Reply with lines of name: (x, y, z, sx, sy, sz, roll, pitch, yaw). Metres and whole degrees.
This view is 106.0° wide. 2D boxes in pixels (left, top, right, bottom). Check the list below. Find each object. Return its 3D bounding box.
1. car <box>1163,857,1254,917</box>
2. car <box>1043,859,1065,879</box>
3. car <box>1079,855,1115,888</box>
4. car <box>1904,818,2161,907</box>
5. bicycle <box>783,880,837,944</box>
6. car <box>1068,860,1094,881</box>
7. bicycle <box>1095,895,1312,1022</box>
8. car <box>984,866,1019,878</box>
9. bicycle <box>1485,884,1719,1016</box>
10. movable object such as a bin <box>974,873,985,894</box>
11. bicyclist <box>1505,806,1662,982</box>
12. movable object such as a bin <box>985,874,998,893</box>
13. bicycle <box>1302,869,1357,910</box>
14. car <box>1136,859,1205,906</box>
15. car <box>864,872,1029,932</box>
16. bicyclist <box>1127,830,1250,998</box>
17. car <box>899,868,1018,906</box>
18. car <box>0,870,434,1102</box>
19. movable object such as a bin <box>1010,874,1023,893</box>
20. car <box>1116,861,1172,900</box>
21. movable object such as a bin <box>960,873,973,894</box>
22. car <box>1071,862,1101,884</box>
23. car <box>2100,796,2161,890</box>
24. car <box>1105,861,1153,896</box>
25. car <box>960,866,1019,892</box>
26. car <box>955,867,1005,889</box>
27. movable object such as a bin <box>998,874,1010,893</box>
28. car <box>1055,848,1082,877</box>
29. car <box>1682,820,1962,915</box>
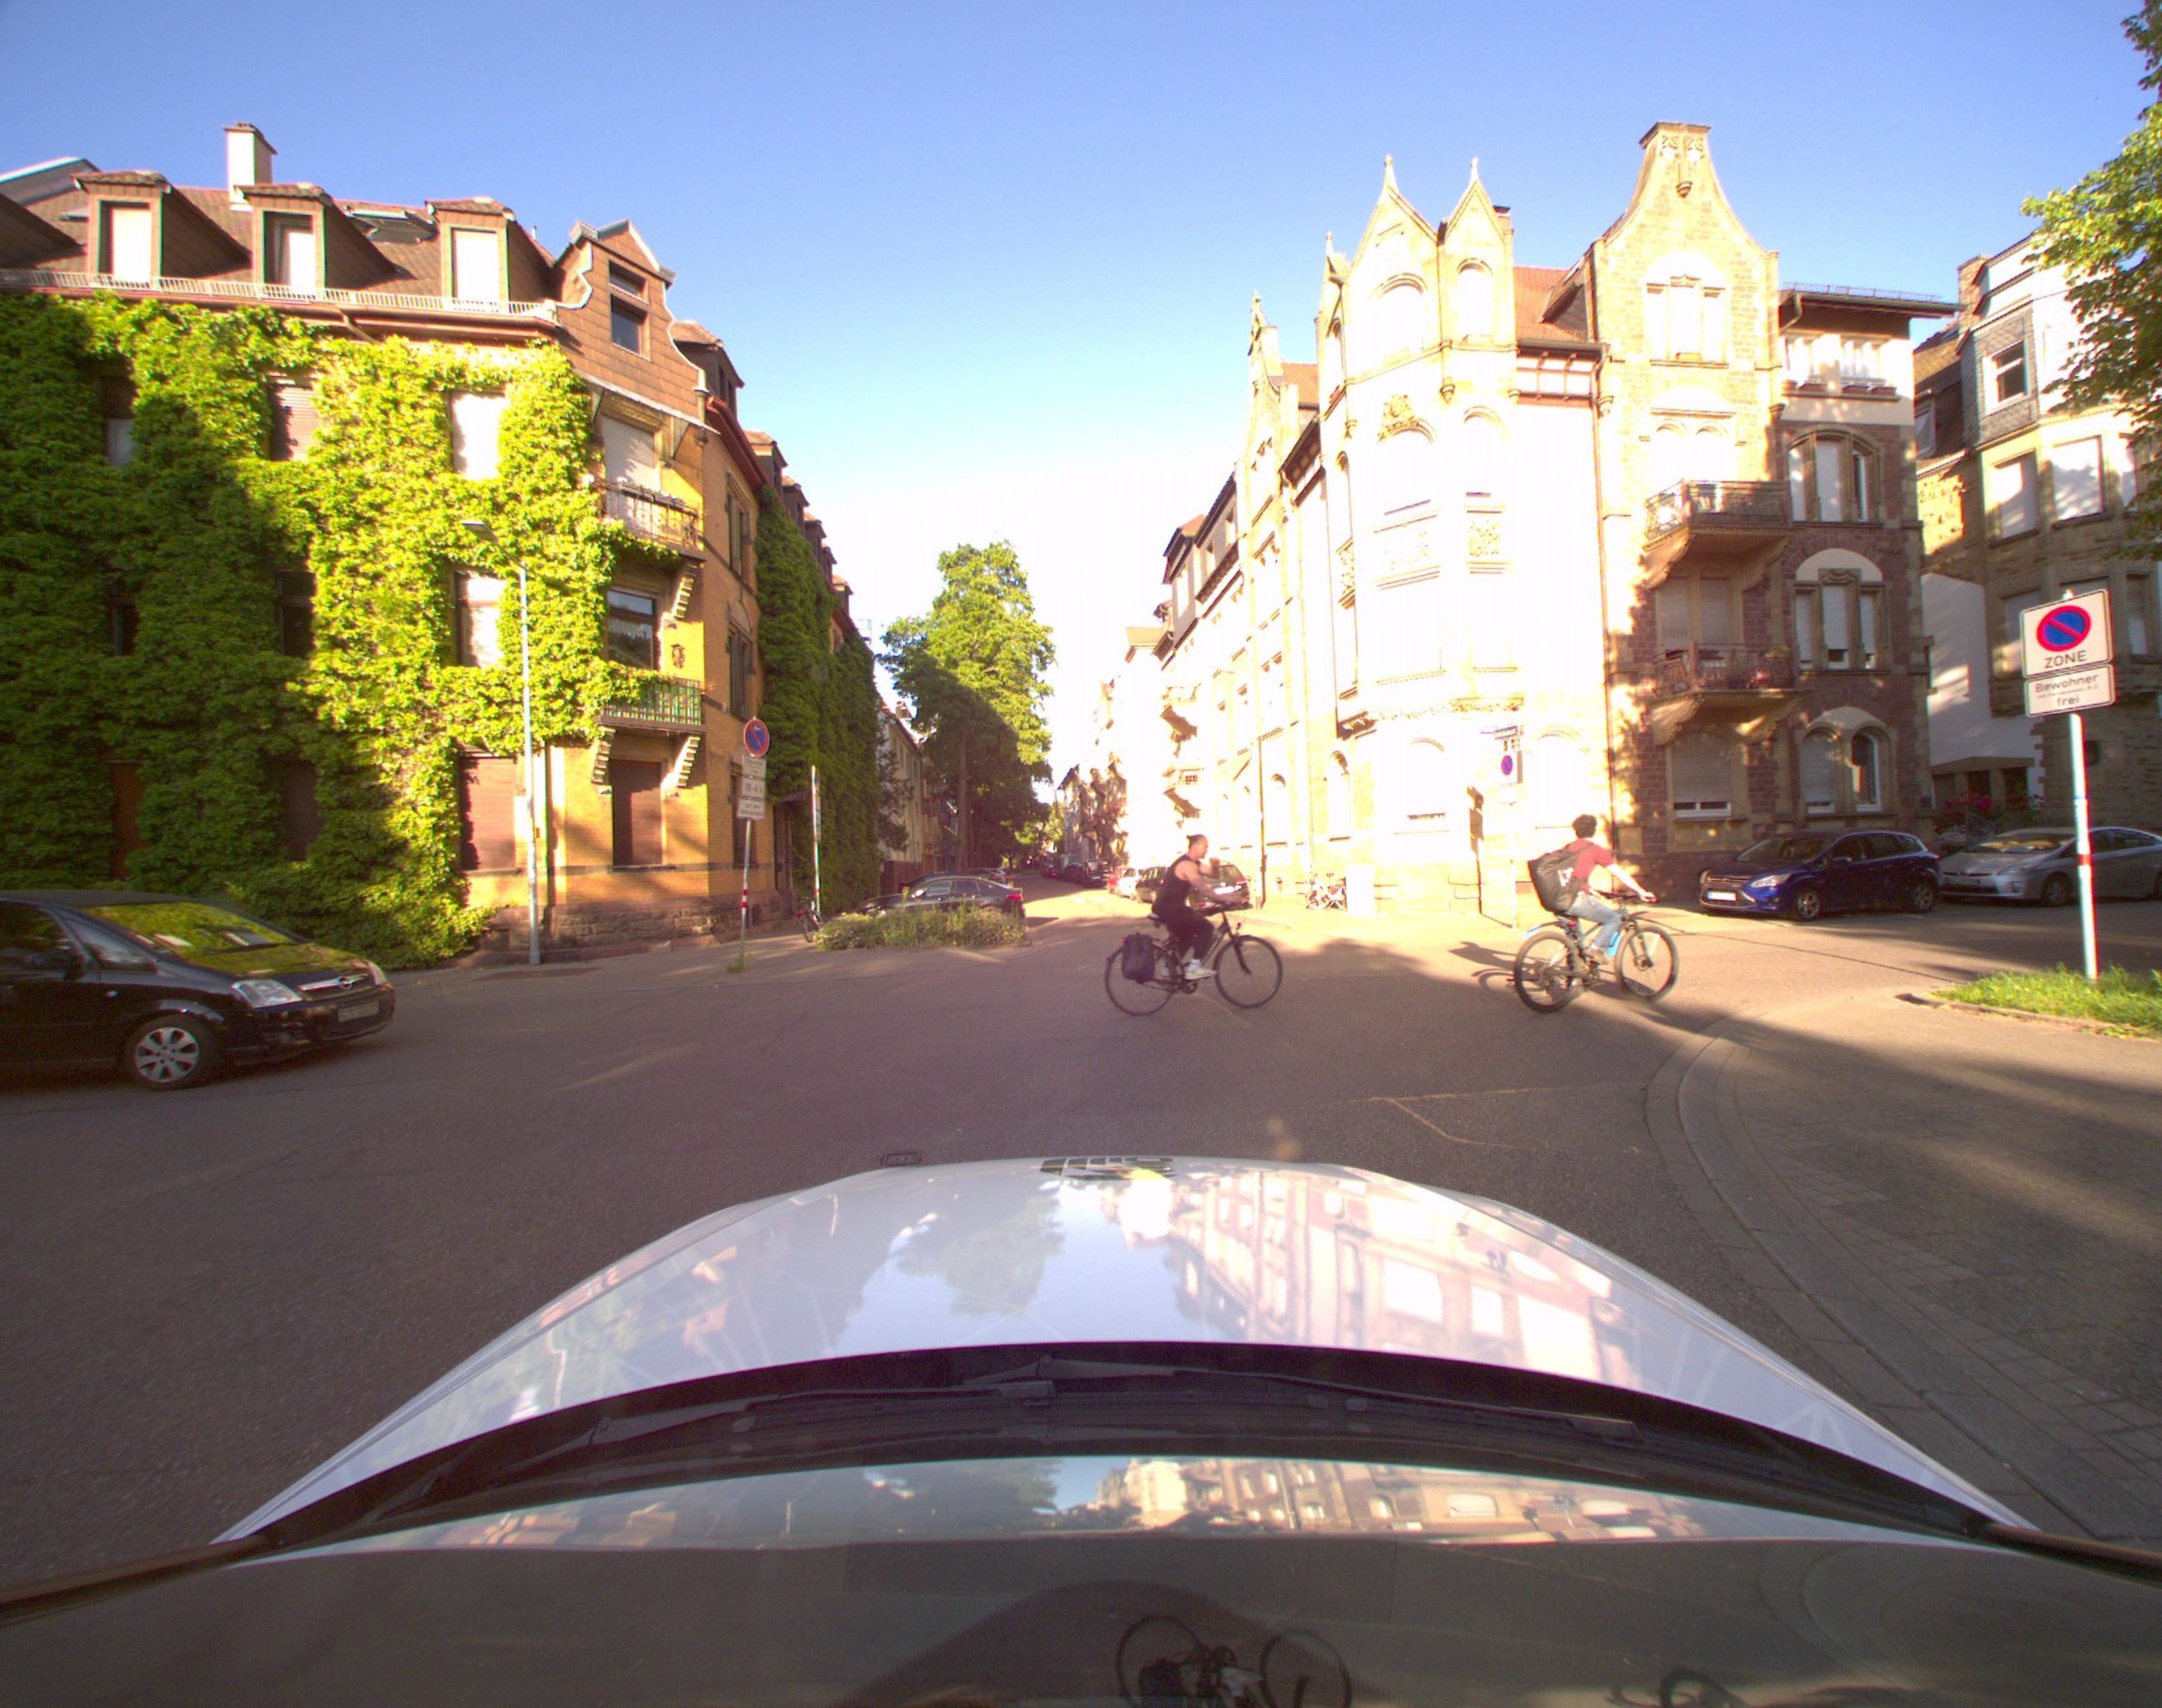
car: (3.703, 0.929, 24.307, 1.735, 1.581, 3.992, -1, -1, -6)
car: (-3.167, 1.720, 95.034, 2.163, 2.237, 4.781, -1, -1, -6)
car: (1.000, 1.105, 52.850, 1.800, 2.004, 3.992, -1, -1, -6)
car: (19.224, 0.134, 16.250, 4.441, 1.499, 1.729, -2, 0, -11)
bicycle: (-5.915, 1.240, 17.863, 0.561, 1.268, 1.603, -3, 0, 2)
car: (-0.028, 1.347, 67.937, 1.800, 1.679, 3.992, -1, -1, -6)
bicycle: (1.183, 0.975, 7.969, 1.965, 1.073, 0.695, -1, -1, -14)
car: (-8.772, 1.974, 89.864, 3.799, 1.240, 1.705, -1, -1, -8)
bicycle: (4.820, 0.859, 7.560, 1.962, 1.072, 0.555, -1, 1, -9)
movable object such as a bin: (-5.681, 1.634, 45.602, 0.598, 1.153, 0.484, -1, -1, -12)
bicyclist: (4.627, 0.349, 7.541, 0.968, 1.527, 0.718, -1, -1, -9)
movable object such as a bin: (-5.024, 1.653, 45.680, 0.629, 1.053, 0.566, -1, -1, -12)
bicycle: (6.316, 0.891, 20.772, 0.515, 0.998, 1.567, -1, -1, -17)
car: (3.255, 1.023, 30.247, 1.735, 1.581, 3.992, -1, -1, -6)
car: (-3.606, 1.271, 22.263, 4.240, 1.435, 1.995, -1, -1, -8)
bicyclist: (1.028, 0.554, 7.944, 0.970, 1.527, 0.705, -1, -1, -15)
car: (-5.127, 1.366, 34.477, 4.831, 1.435, 1.705, -1, -1, -8)
car: (-8.247, 1.046, 6.856, 4.006, 1.590, 1.644, -3, 1, -10)
movable object such as a bin: (-3.638, 1.645, 45.958, 0.629, 1.053, 0.566, -1, -1, -12)
car: (2.694, 1.113, 35.659, 1.735, 1.581, 3.992, -1, -1, -6)
movable object such as a bin: (-6.390, 1.635, 45.424, 0.634, 1.126, 0.484, -1, -1, -12)
car: (0.337, 1.397, 61.030, 1.800, 1.514, 3.992, -1, -1, -6)
car: (24.700, -0.323, 17.272, 4.484, 1.974, 1.968, -2, 0, -11)
car: (2.326, 1.186, 40.243, 1.735, 1.581, 3.992, -1, -1, -6)
car: (-6.077, 1.646, 53.888, 3.801, 1.575, 1.704, -1, -1, -10)
car: (-7.913, 1.871, 63.594, 3.799, 1.575, 1.705, -1, -1, -8)
movable object such as a bin: (-4.335, 1.680, 45.853, 0.629, 1.053, 0.566, -1, -1, -12)
car: (-1.255, 0.817, 78.047, 2.163, 2.691, 4.781, -1, -1, -6)
car: (14.036, 0.211, 15.512, 4.245, 1.622, 1.729, -1, 0, -11)
